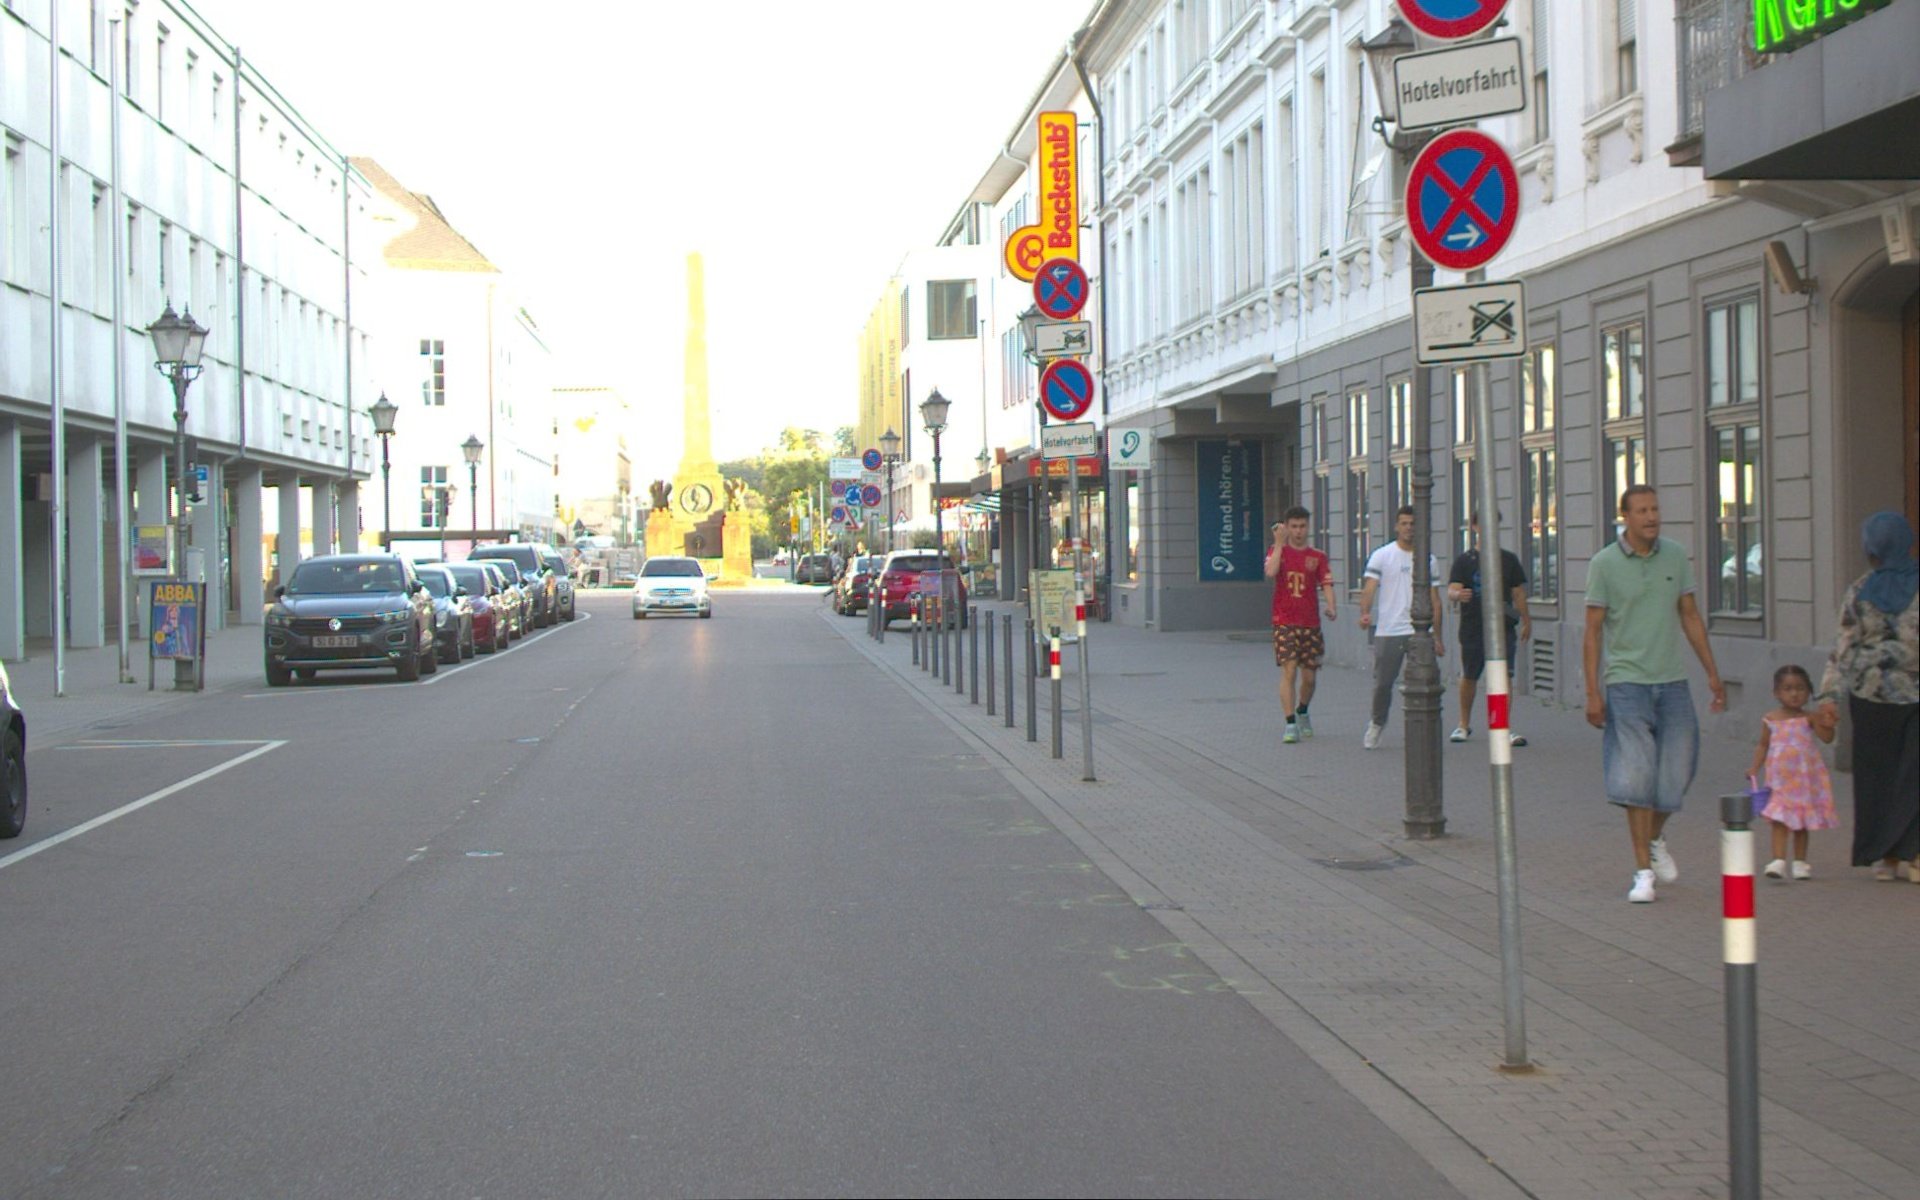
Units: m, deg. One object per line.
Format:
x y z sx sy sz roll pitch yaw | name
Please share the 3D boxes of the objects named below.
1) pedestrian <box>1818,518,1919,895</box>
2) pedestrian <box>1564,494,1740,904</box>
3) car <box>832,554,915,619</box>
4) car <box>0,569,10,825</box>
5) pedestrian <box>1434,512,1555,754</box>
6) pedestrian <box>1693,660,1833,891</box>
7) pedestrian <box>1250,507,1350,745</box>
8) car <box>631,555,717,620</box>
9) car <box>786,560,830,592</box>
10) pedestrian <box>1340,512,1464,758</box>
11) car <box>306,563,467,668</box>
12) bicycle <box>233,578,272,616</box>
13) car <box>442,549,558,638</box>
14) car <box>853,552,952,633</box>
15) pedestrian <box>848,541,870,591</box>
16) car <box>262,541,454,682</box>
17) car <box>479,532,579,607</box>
4.132 0.445 14.917 0.629 1.595 0.615 -1 1 -2 | pedestrian
2.978 0.416 14.822 0.607 1.724 0.558 -1 1 -2 | pedestrian
-2.047 -0.337 80.516 1.801 1.459 4.118 -1 1 -3 | car
-6.489 0.603 18.096 1.993 1.489 4.165 -1 1 -3 | car
3.902 0.232 25.138 0.713 1.724 0.873 -1 1 -1 | pedestrian
3.547 0.767 15.213 0.459 0.976 0.558 -1 1 -2 | pedestrian
2.600 0.186 26.371 0.620 1.783 0.913 -1 1 -2 | pedestrian
-6.497 -0.315 78.347 1.785 1.404 4.089 -1 1 -3 | car
-7.141 -1.143 162.034 1.993 1.459 4.000 -1 1 -2 | car
3.168 0.240 24.689 0.748 1.724 0.881 -1 1 0 | pedestrian
-8.200 0.194 49.440 1.785 1.404 4.089 -1 1 -3 | car
-18.534 -0.084 90.087 0.733 0.980 2.336 0 1 -5 | bicycle
-9.578 -0.157 71.883 1.993 1.722 4.516 -2 1 -3 | car
-1.133 -0.166 66.694 1.759 1.518 3.678 -1 1 -3 | car
-3.325 -1.122 113.113 0.690 1.642 0.696 -1 1 -4 | pedestrian
-7.362 0.106 42.388 1.785 1.609 4.166 -1 1 -3 | car
-9.836 -0.711 78.674 1.993 1.656 4.001 -1 1 -3 | car
